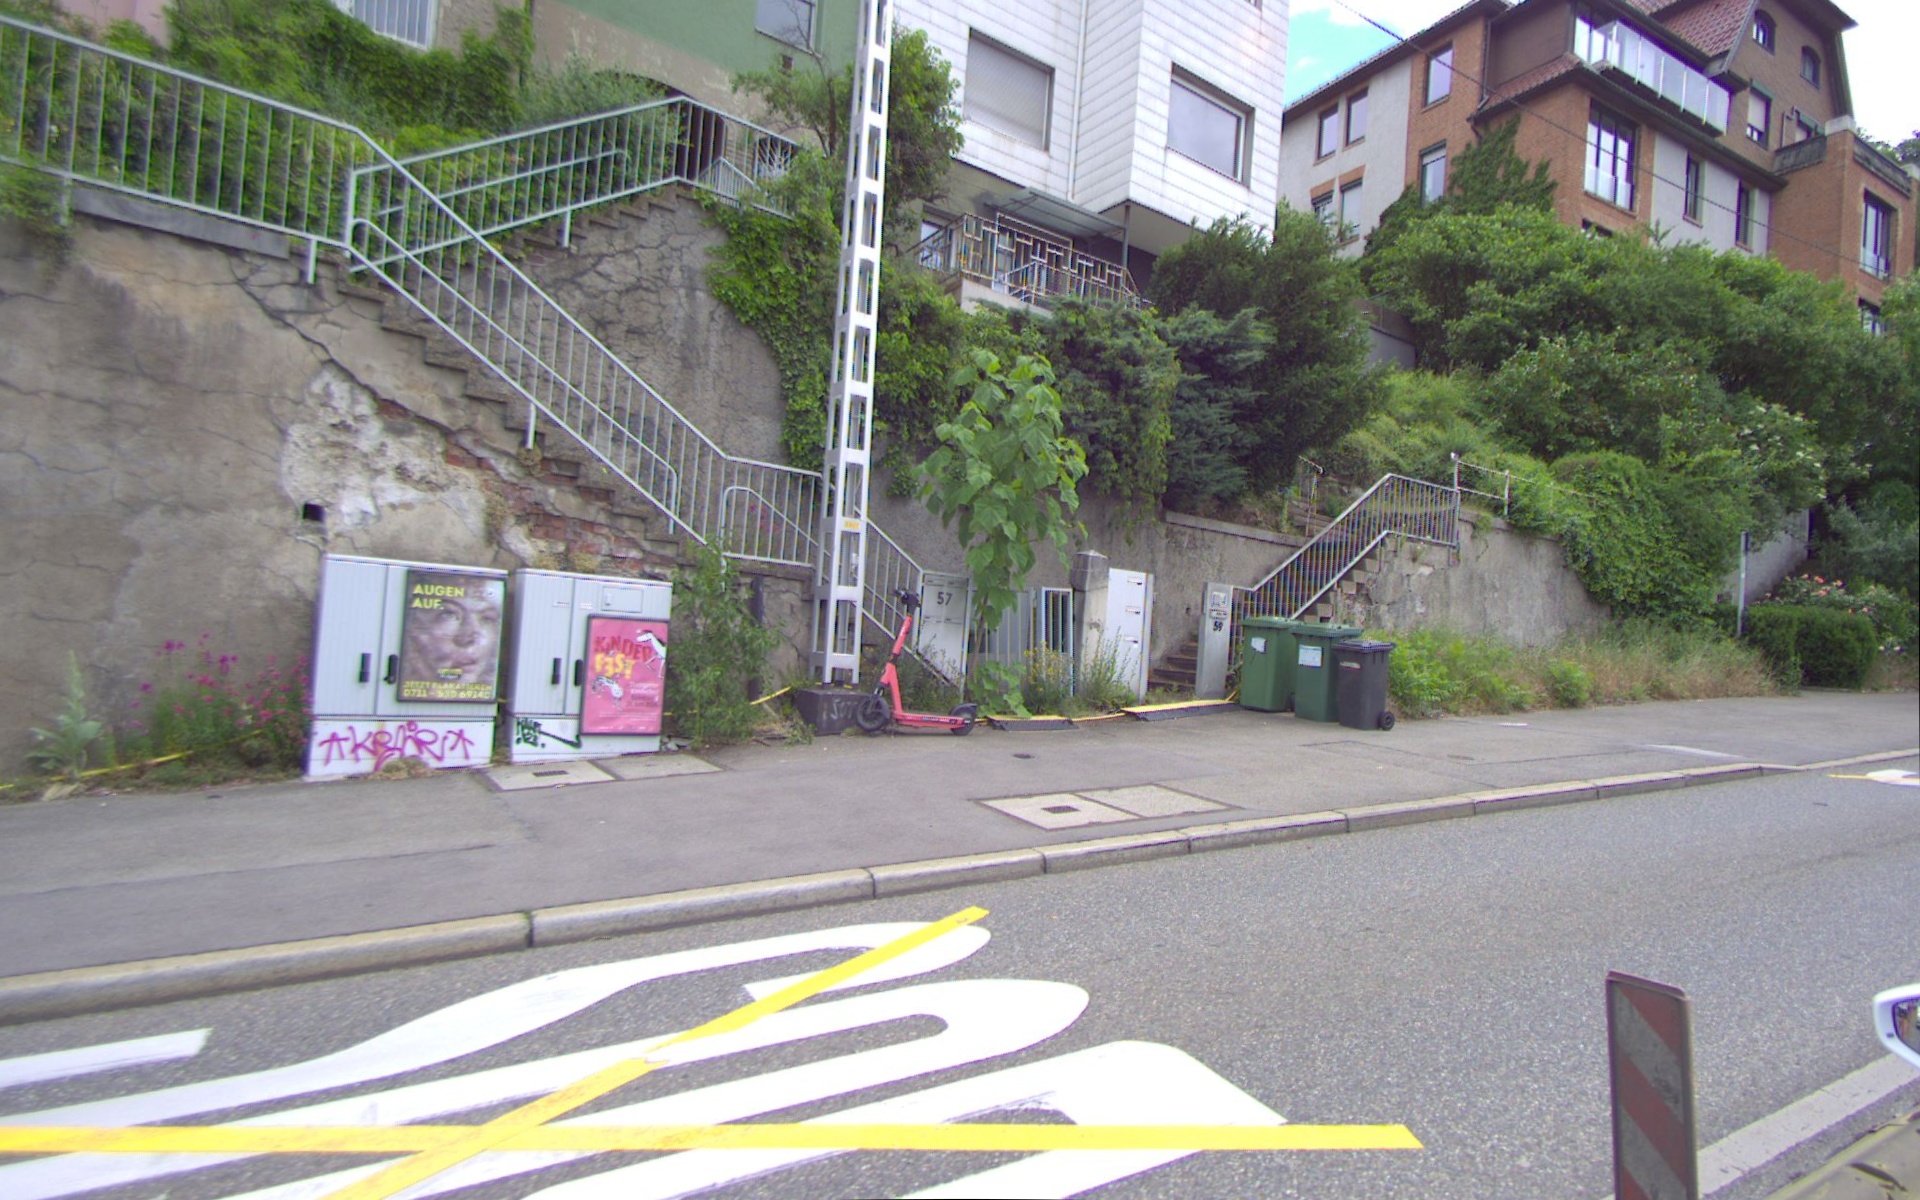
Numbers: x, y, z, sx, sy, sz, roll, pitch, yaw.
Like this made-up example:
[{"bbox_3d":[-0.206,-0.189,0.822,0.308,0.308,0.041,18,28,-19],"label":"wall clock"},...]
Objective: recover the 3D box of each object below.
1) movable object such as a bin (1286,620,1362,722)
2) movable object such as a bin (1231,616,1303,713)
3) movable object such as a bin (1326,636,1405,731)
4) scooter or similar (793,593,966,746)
[{"bbox_3d":[4.036,0.777,11.133,0.617,1.068,0.465,1,2,-31],"label":"movable object such as a bin"},{"bbox_3d":[3.585,0.740,11.737,0.617,1.068,0.465,1,2,-31],"label":"movable object such as a bin"},{"bbox_3d":[4.312,0.869,10.695,0.617,0.947,0.465,1,2,-31],"label":"movable object such as a bin"},{"bbox_3d":[-0.683,0.574,8.711,1.420,1.221,0.456,1,2,-33],"label":"scooter or similar"}]
